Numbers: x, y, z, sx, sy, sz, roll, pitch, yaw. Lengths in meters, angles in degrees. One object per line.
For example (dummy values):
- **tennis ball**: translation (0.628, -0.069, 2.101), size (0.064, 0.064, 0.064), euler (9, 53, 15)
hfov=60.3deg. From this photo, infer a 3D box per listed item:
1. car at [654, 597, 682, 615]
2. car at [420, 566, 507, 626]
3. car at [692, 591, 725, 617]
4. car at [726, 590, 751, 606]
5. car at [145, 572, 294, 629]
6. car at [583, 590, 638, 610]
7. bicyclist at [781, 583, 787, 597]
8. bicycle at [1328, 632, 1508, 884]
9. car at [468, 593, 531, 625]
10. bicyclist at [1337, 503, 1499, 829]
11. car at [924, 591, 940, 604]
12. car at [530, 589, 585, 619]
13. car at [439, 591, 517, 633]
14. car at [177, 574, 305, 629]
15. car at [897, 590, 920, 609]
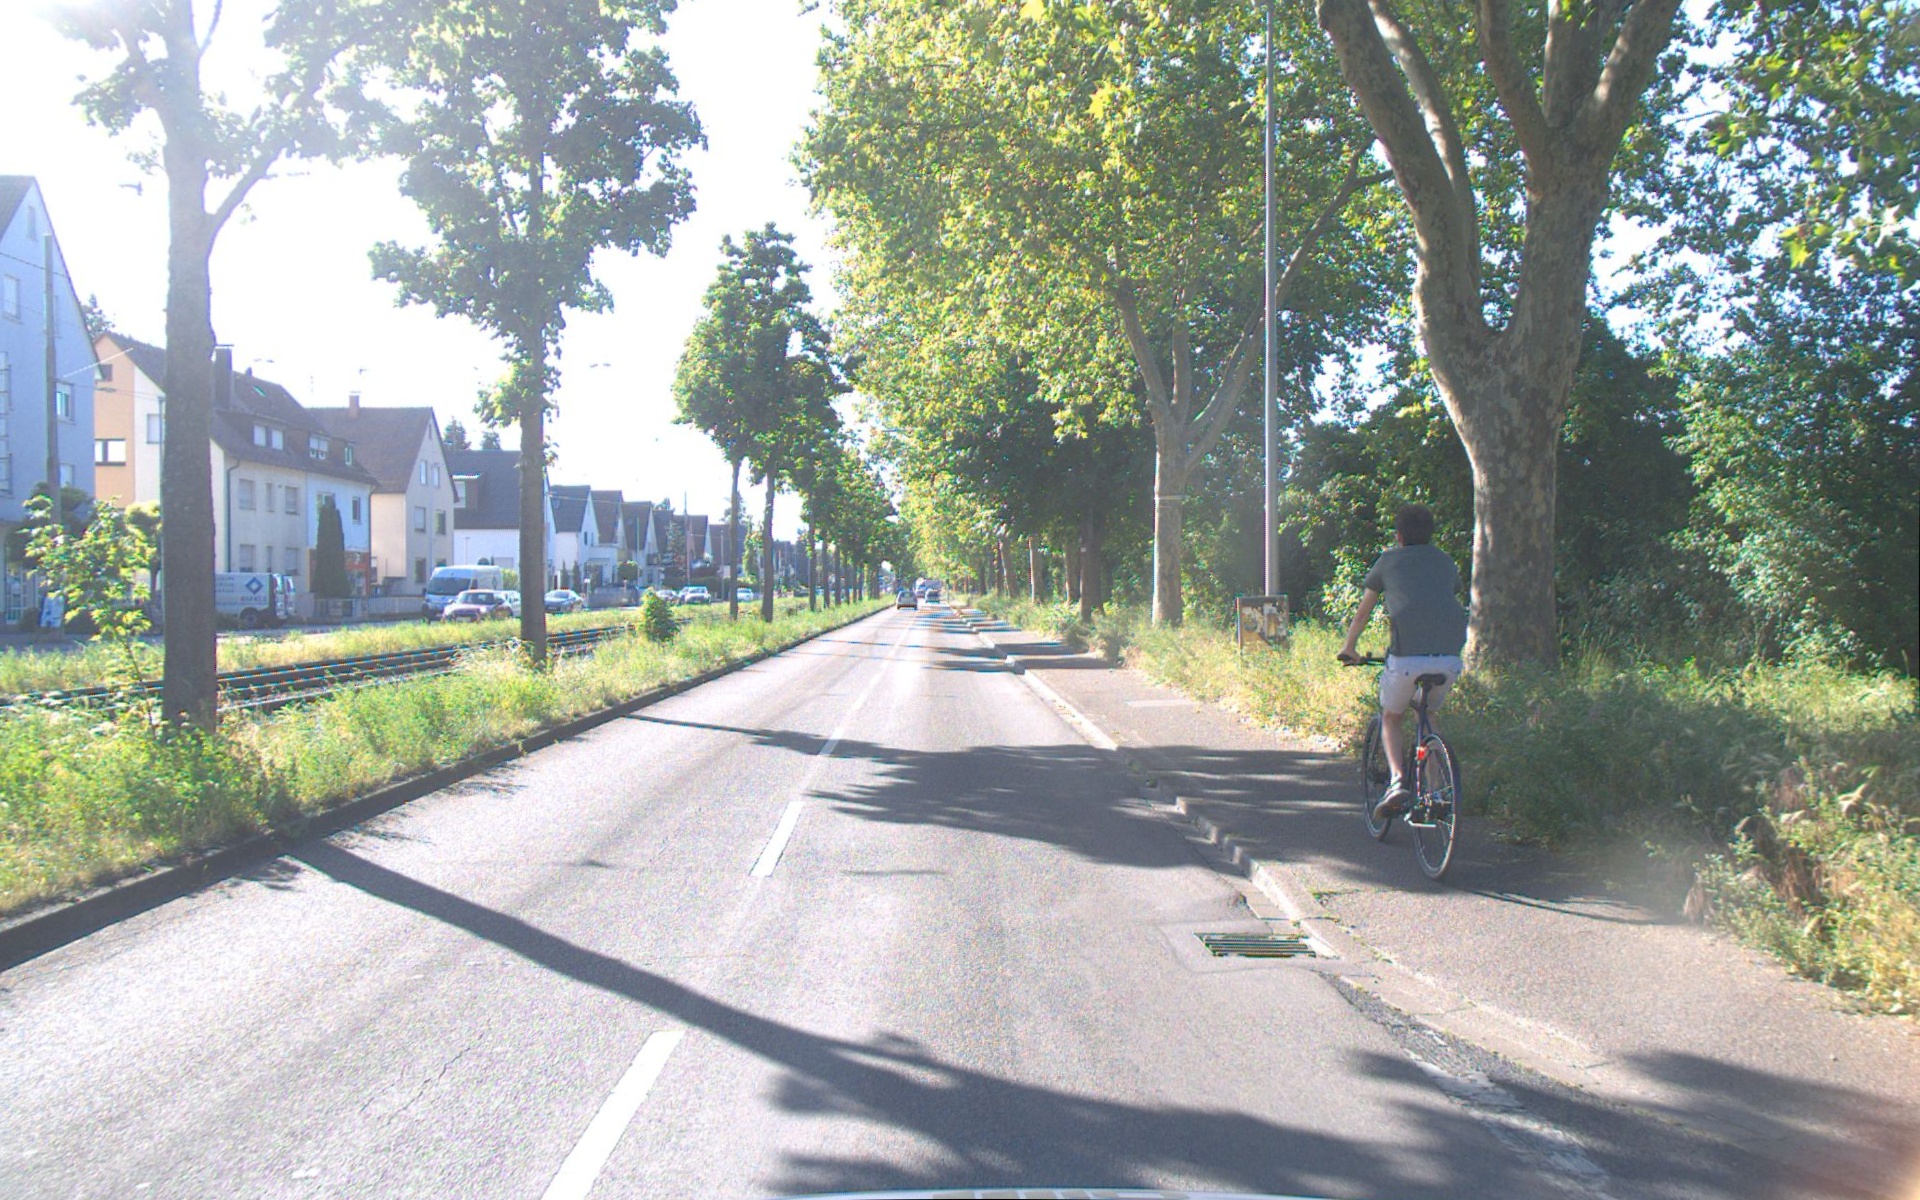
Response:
- **car**: translation (-23.182, 0.469, 131.296), size (1.463, 1.349, 4.000), euler (1, -1, 0)
- **car**: translation (-21.993, -0.143, 73.610), size (1.953, 2.502, 6.672), euler (1, -1, -2)
- **car**: translation (-19.588, 0.344, 129.072), size (1.876, 1.916, 4.523), euler (1, -1, 0)
- **car**: translation (-25.040, -0.216, 187.071), size (1.952, 1.627, 4.732), euler (1, -1, 2)
- **car**: translation (-26.870, 0.025, 60.167), size (4.536, 1.979, 1.994), euler (1, 0, -12)
- **car**: translation (-28.359, 0.037, 134.335), size (4.131, 1.489, 1.936), euler (2, -1, -5)
- **bicyclist**: translation (-22.090, -1.283, 207.366), size (0.674, 1.681, 0.881), euler (2, 0, -1)
- **bicycle**: translation (2.420, 0.783, 8.909), size (0.431, 1.173, 1.823), euler (0, 0, -1)
- **car**: translation (-22.114, 0.426, 79.524), size (1.787, 1.437, 4.656), euler (2, 0, -2)
- **bicyclist**: translation (2.438, 0.332, 8.876), size (0.601, 1.657, 0.909), euler (0, 0, -1)
- **car**: translation (-3.222, -0.281, 192.115), size (1.725, 1.539, 3.276), euler (1, -1, 0)
- **car**: translation (-22.594, 0.221, 93.030), size (1.953, 1.609, 4.497), euler (2, 0, 0)
- **car**: translation (-16.967, 0.406, 58.428), size (1.642, 1.434, 3.999), euler (0, 0, -1)
- **car**: translation (-27.186, 0.059, 62.654), size (4.064, 1.986, 1.994), euler (1, 0, -12)
- **car**: translation (-3.987, -0.052, 128.704), size (1.703, 1.425, 3.276), euler (2, -1, -1)
